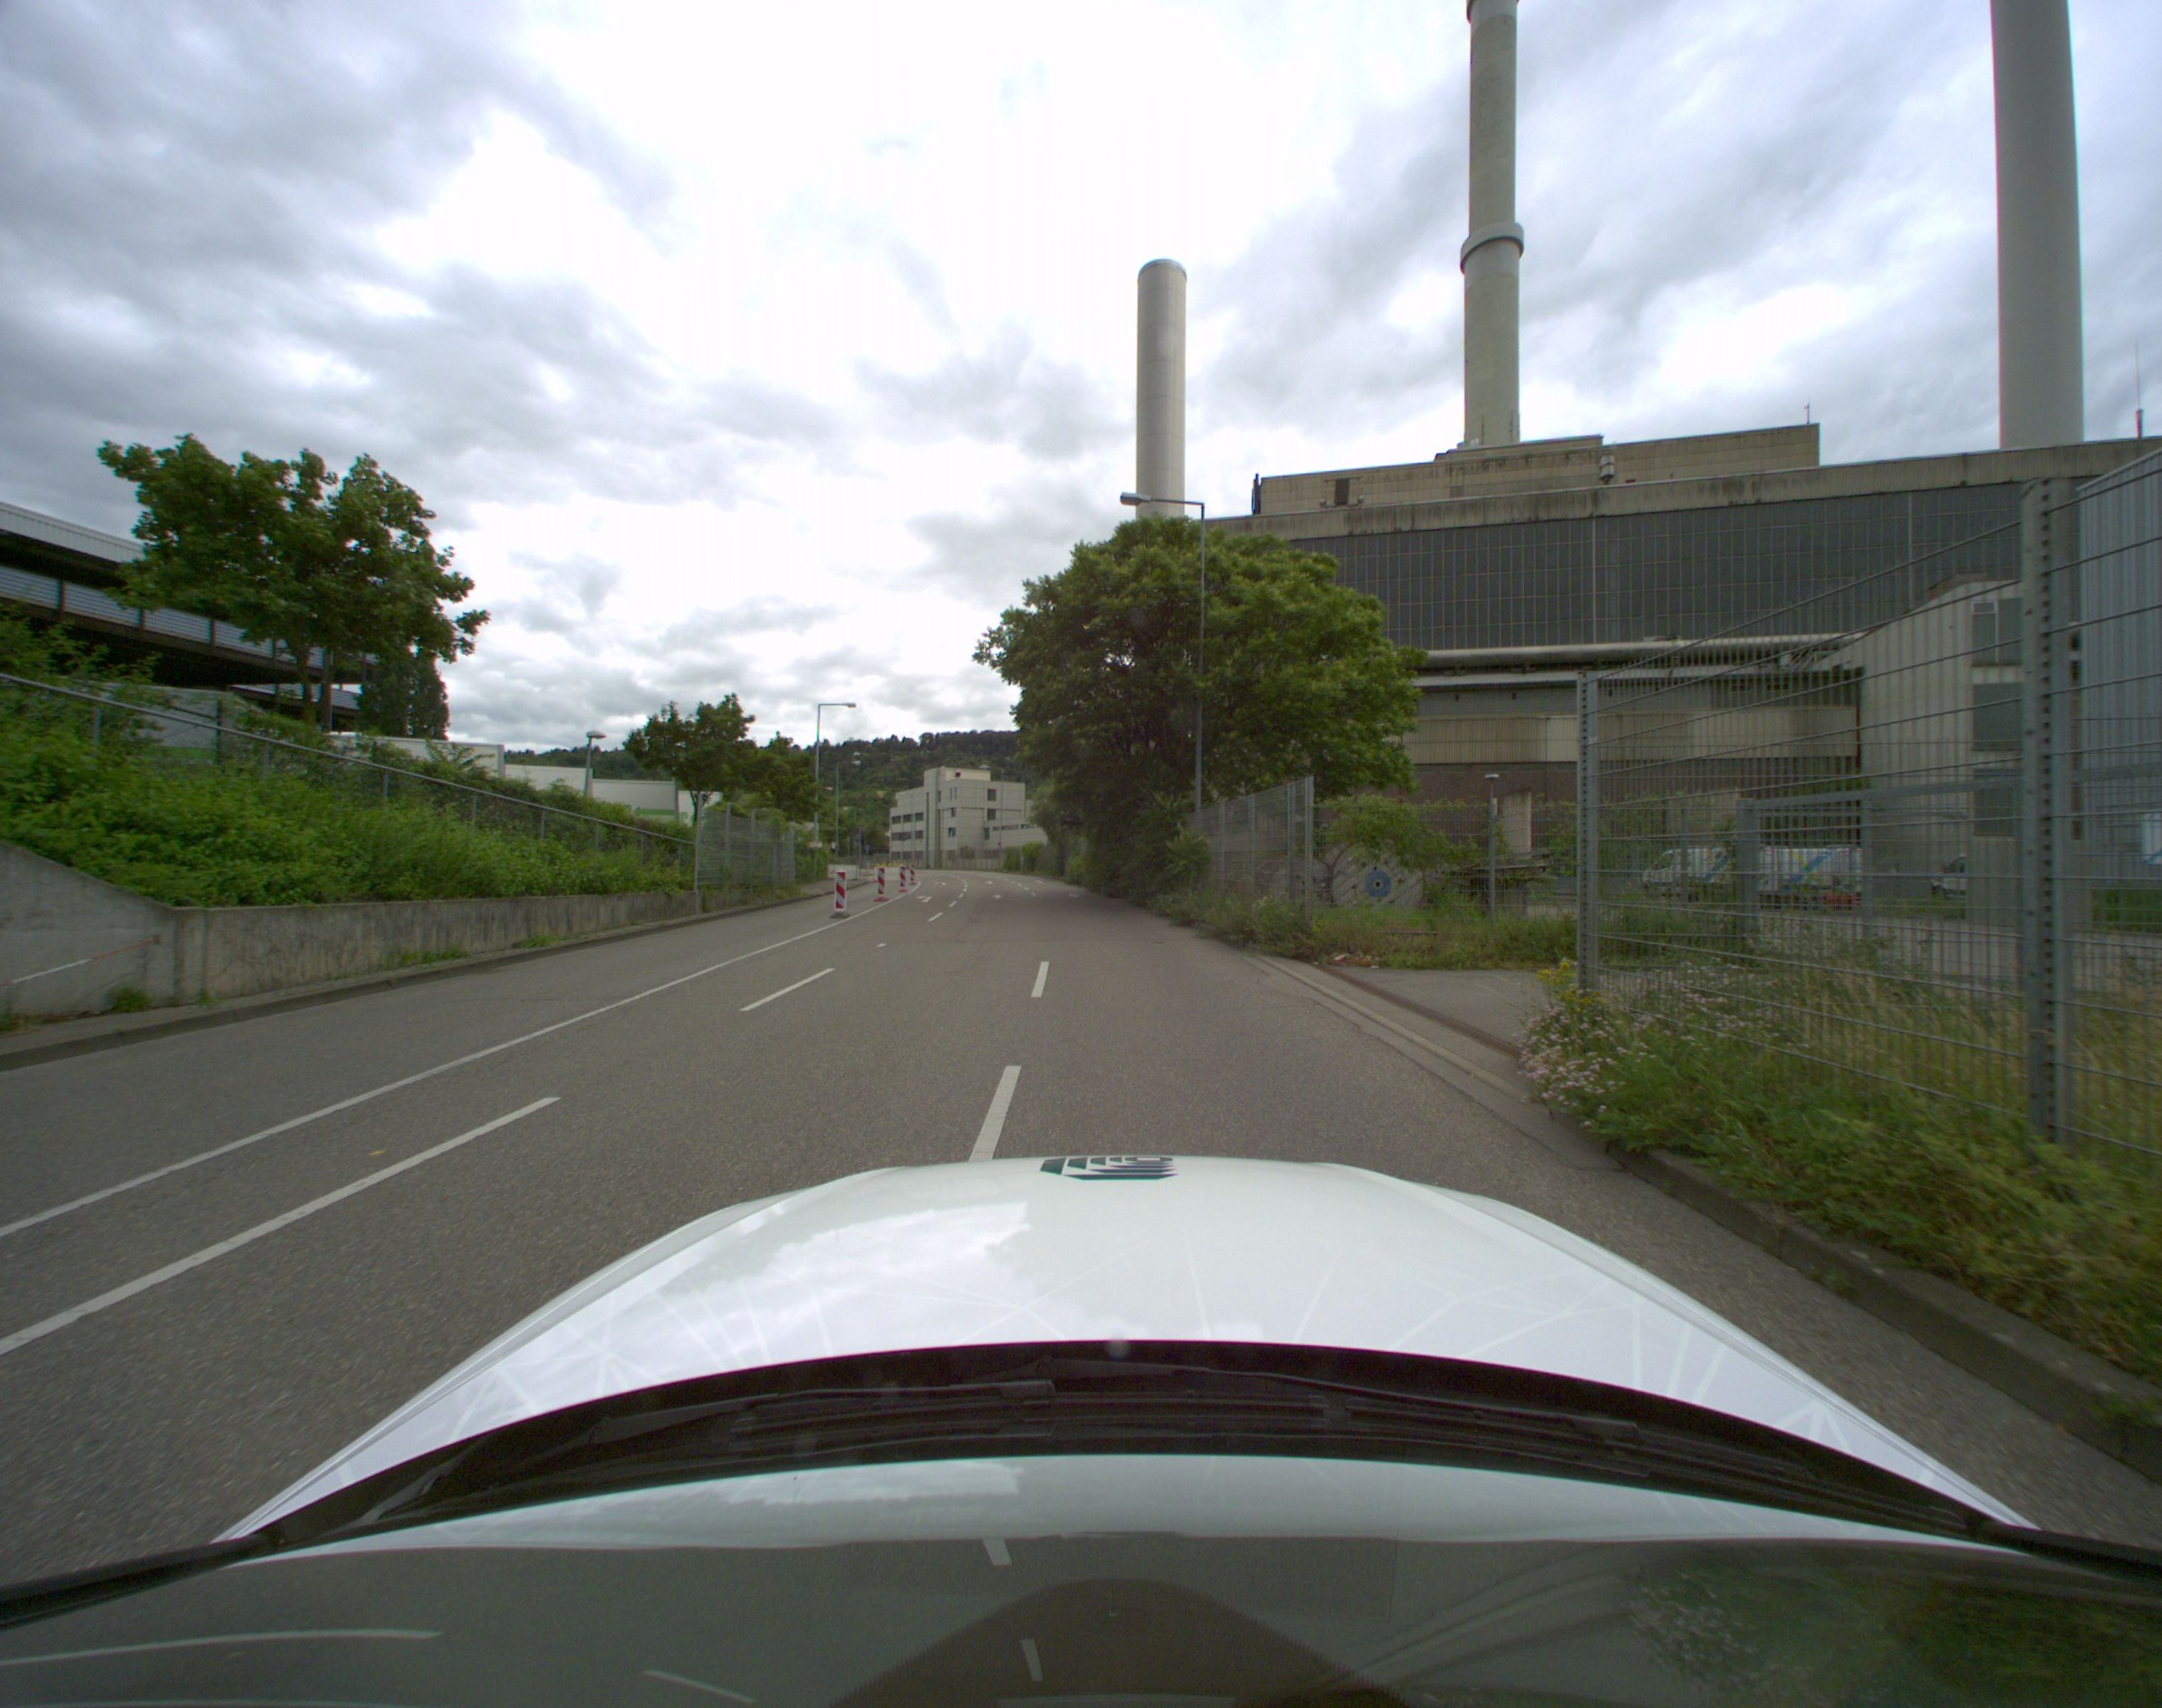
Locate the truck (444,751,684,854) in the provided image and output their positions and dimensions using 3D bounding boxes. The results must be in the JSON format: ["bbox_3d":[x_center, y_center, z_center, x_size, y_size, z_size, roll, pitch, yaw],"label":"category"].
[{"bbox_3d":[-20.760,-1.899,33.364,7.888,3.539,3.023,1,-3,-30],"label":"truck"}]

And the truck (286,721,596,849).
[{"bbox_3d":[-21.400,-2.102,27.956,7.898,3.539,3.019,2,-3,-35],"label":"truck"}]

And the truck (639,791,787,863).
[{"bbox_3d":[-22.215,-1.525,49.758,7.863,3.992,3.033,1,-2,-19],"label":"truck"}]

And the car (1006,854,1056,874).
[{"bbox_3d":[-5.862,1.176,95.705,6.090,2.263,2.012,0,-2,40],"label":"car"}]

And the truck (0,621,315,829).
[{"bbox_3d":[-21.120,-2.534,16.318,7.898,3.539,3.019,2,-3,-35],"label":"truck"}]

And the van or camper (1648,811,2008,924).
[{"bbox_3d":[32.785,0.678,36.241,11.795,4.532,5.472,1,-2,-7],"label":"van or camper"}]

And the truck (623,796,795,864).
[{"bbox_3d":[-23.796,-1.421,52.754,9.643,3.992,3.034,1,-2,-17],"label":"truck"}]

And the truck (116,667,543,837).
[{"bbox_3d":[-19.897,-2.464,22.585,8.187,3.539,3.019,2,-3,-35],"label":"truck"}]

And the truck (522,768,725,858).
[{"bbox_3d":[-21.096,-1.734,37.910,7.894,3.539,3.021,2,-3,-33],"label":"truck"}]
